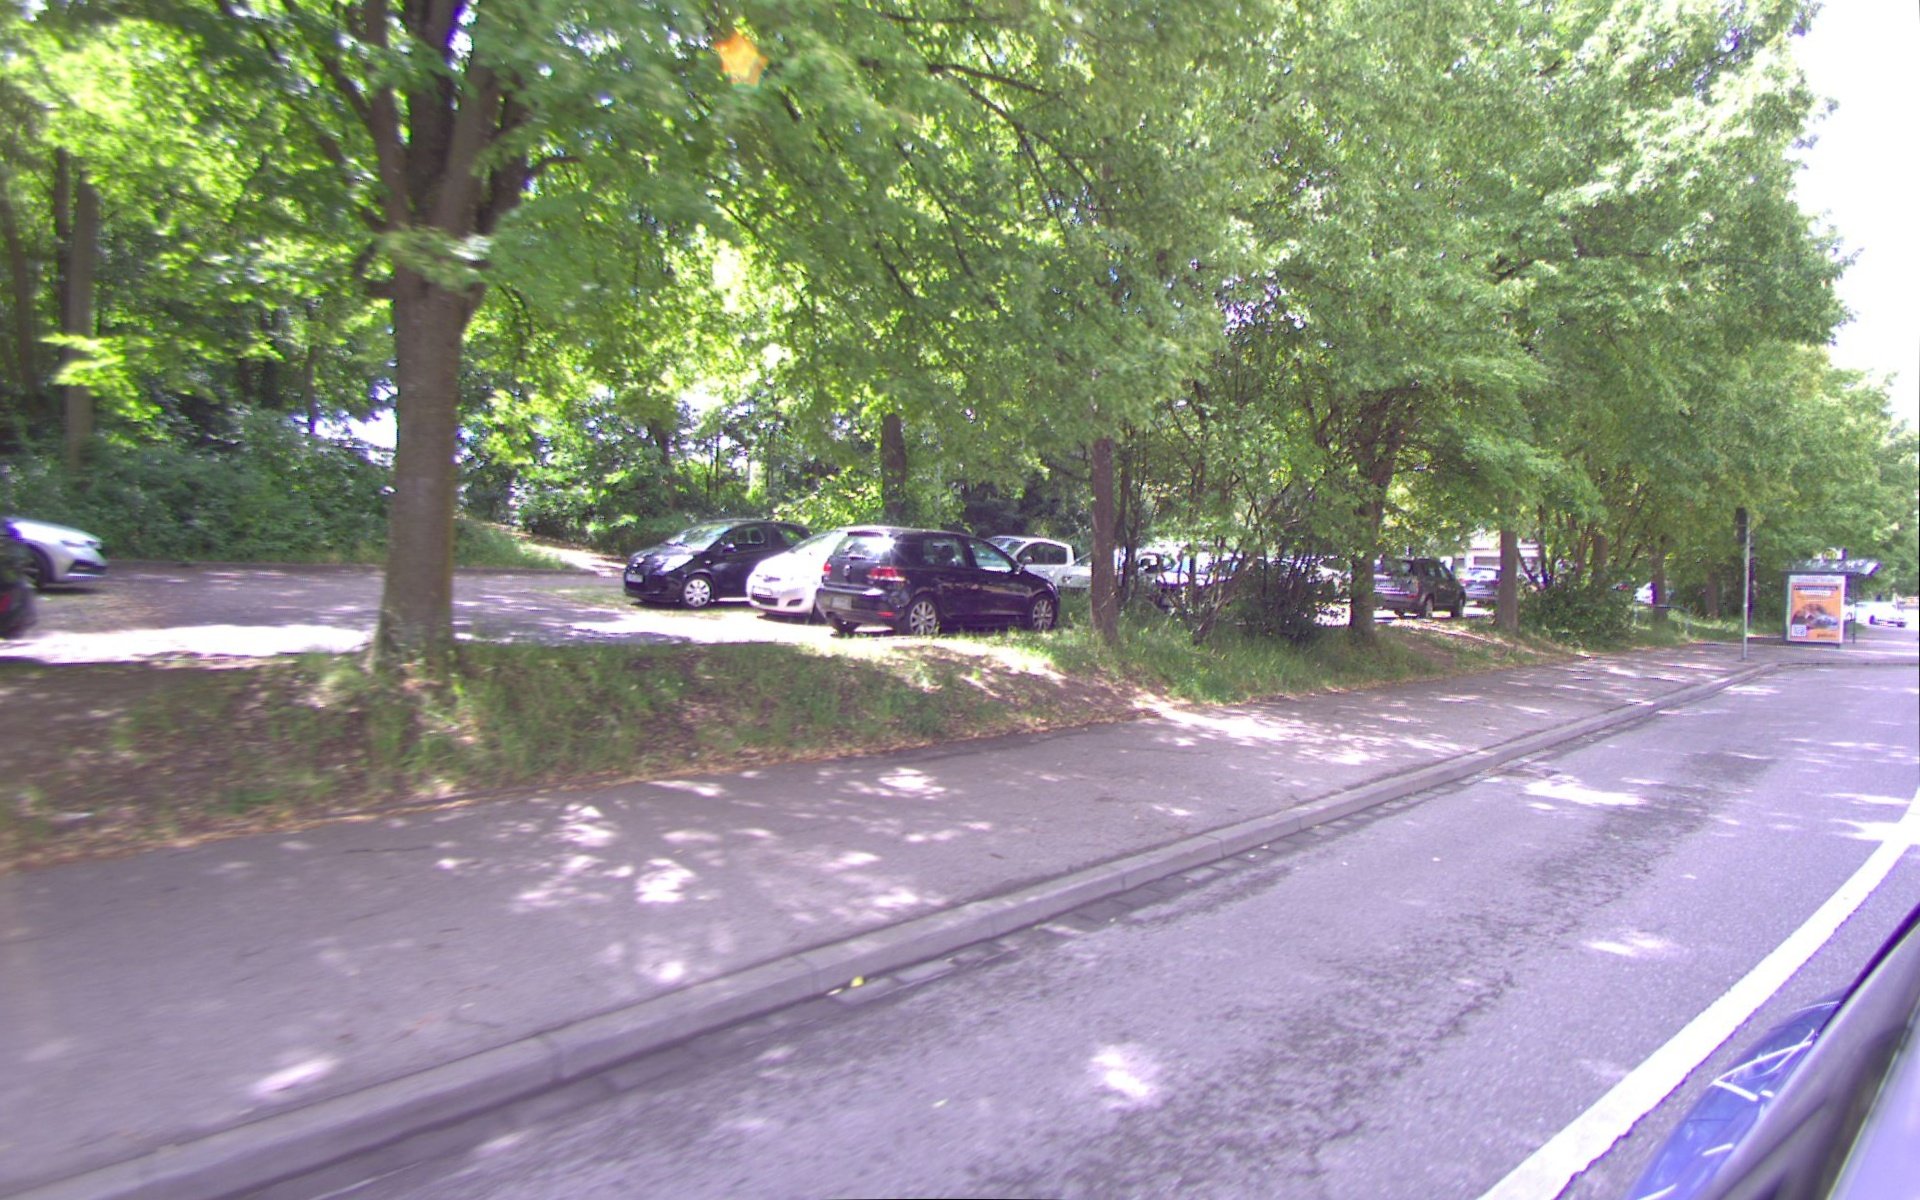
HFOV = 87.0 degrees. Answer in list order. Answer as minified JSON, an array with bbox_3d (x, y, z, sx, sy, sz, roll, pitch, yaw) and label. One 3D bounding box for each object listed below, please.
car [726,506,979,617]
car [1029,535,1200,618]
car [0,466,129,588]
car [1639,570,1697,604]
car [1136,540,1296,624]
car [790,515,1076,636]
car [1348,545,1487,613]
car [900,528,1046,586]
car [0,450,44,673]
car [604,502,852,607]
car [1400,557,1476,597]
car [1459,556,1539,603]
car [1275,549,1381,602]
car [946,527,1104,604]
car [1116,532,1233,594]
[{"bbox_3d":[-1.652,-0.607,16.511,1.636,1.585,3.925,4,3,45],"label":"car"},{"bbox_3d":[3.312,-0.490,21.381,3.561,1.526,1.695,0,4,-44],"label":"car"},{"bbox_3d":[-13.527,-0.993,12.650,4.795,1.525,1.998,0,4,-42],"label":"car"},{"bbox_3d":[35.780,-0.640,51.124,4.071,1.532,1.629,0,5,-45],"label":"car"},{"bbox_3d":[5.064,-0.344,19.720,1.606,1.430,3.766,4,3,38],"label":"car"},{"bbox_3d":[-0.288,-0.361,14.522,1.798,1.482,3.925,4,3,45],"label":"car"},{"bbox_3d":[12.333,-0.531,27.150,4.646,1.683,1.848,0,1,-45],"label":"car"},{"bbox_3d":[0.386,-1.111,26.513,3.561,1.333,1.789,0,4,-44],"label":"car"},{"bbox_3d":[-8.471,-0.323,6.284,4.091,1.526,1.717,0,4,-44],"label":"car"},{"bbox_3d":[-3.959,-0.770,17.665,1.610,1.585,3.925,7,5,44],"label":"car"},{"bbox_3d":[20.210,-0.992,42.736,1.689,1.509,3.735,7,6,44],"label":"car"},{"bbox_3d":[21.862,-0.875,40.982,1.689,1.714,4.195,7,6,44],"label":"car"},{"bbox_3d":[12.622,-0.801,34.541,4.356,1.573,1.473,1,4,-43],"label":"car"},{"bbox_3d":[1.572,-0.786,23.828,3.561,1.633,1.695,0,4,-44],"label":"car"},{"bbox_3d":[7.005,-1.166,32.771,4.139,1.811,1.615,0,4,-45],"label":"car"}]
